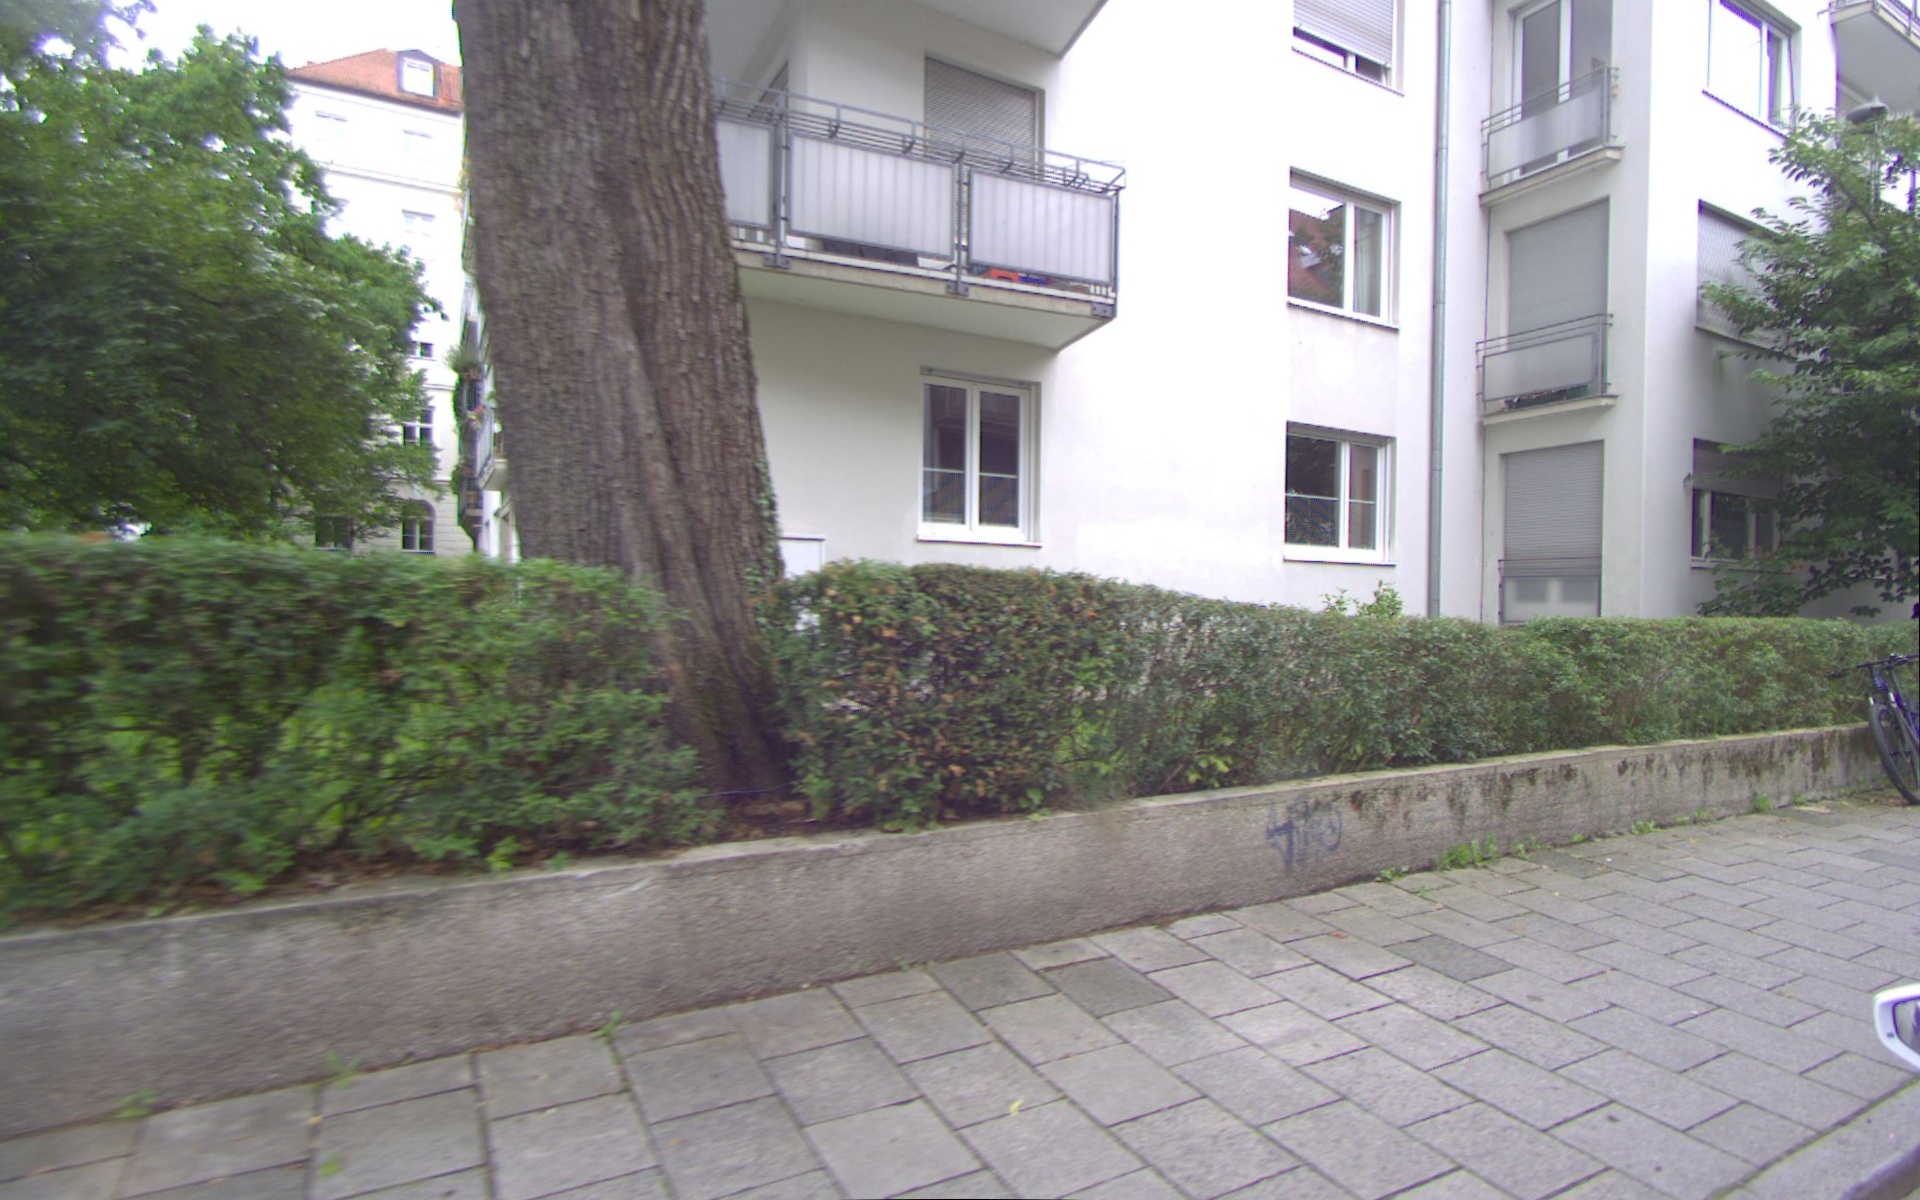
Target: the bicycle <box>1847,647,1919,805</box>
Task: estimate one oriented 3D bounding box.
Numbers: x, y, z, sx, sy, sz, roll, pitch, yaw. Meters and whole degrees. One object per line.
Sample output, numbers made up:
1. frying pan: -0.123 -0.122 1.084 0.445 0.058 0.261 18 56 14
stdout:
1. bicycle: 7.445 0.920 7.709 1.759 1.086 0.345 1 4 -30
